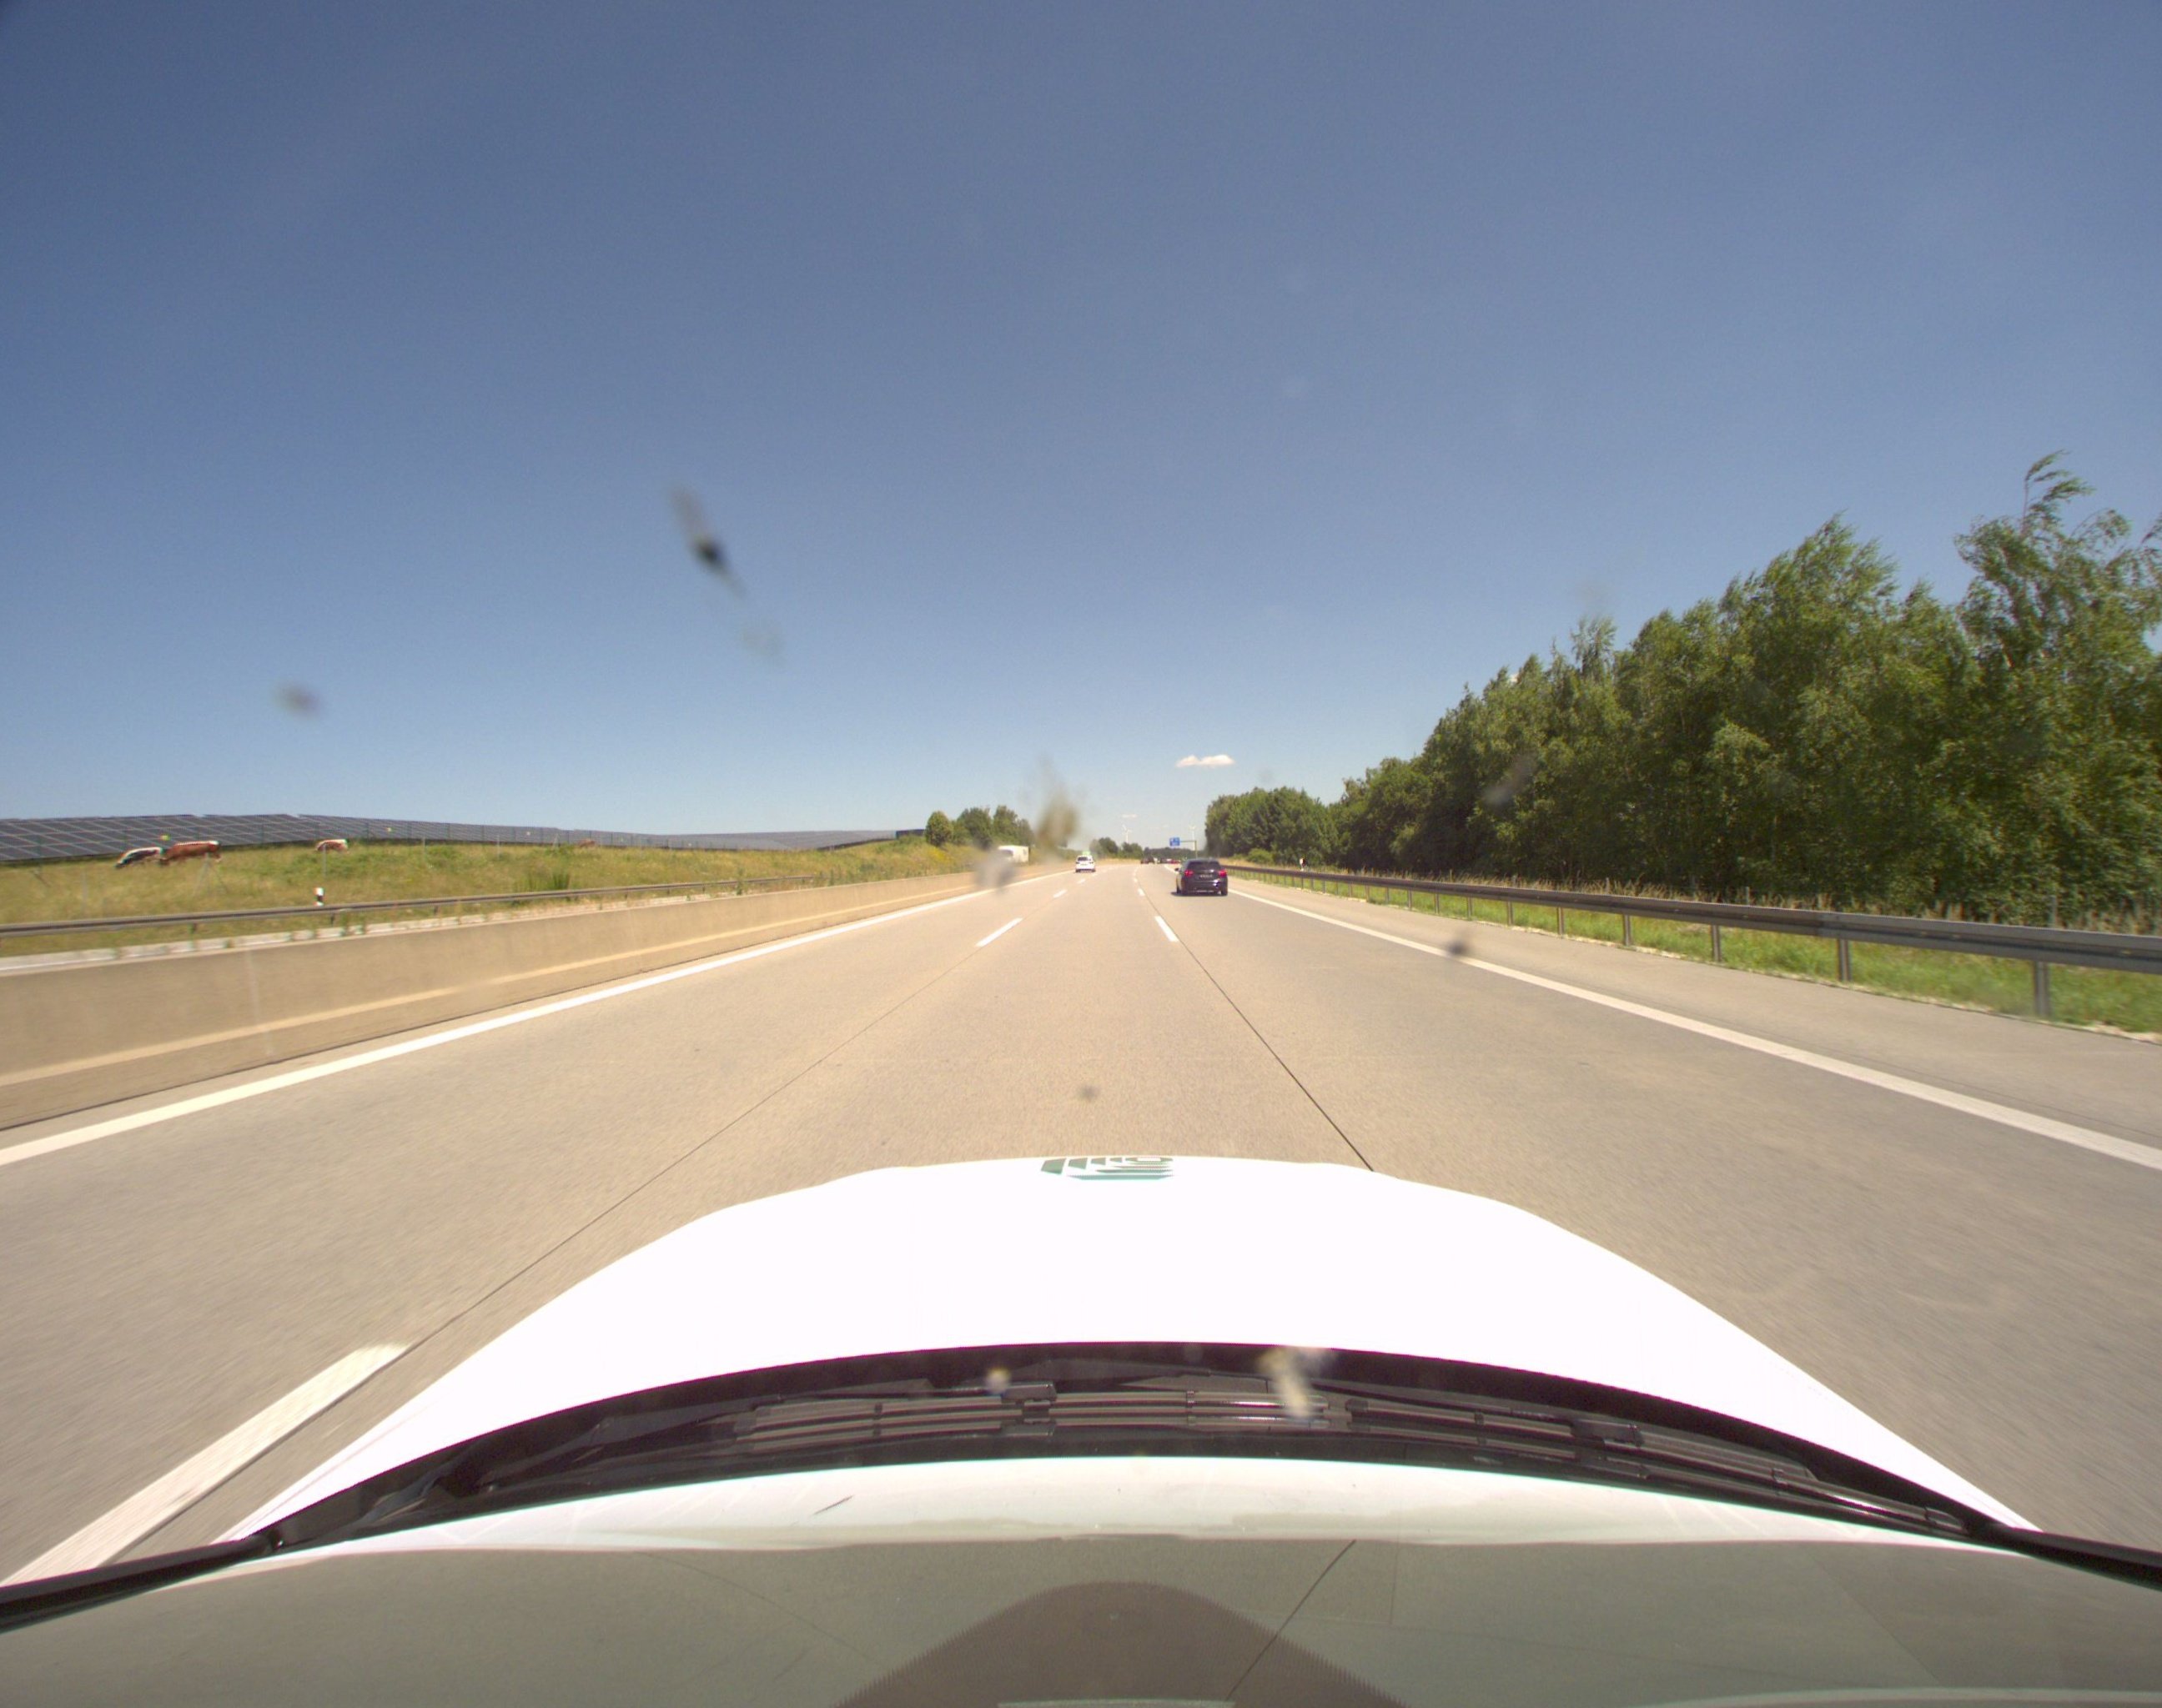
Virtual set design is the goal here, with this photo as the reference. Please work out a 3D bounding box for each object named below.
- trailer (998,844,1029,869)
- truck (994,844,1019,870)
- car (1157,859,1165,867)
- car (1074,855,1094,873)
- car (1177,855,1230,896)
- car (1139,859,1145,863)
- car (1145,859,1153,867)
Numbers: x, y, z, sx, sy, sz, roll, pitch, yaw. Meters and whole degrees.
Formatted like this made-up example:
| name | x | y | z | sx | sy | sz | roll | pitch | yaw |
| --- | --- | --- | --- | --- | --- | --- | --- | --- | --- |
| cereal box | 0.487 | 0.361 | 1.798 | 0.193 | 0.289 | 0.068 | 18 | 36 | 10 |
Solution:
| name | x | y | z | sx | sy | sz | roll | pitch | yaw |
| --- | --- | --- | --- | --- | --- | --- | --- | --- | --- |
| trailer | -11.713 | 0.493 | 142.914 | 2.992 | 4.060 | 14.194 | -2 | 0 | 4 |
| truck | -12.330 | 0.467 | 135.162 | 2.977 | 4.060 | 6.877 | -2 | 0 | 4 |
| car | 19.659 | 2.093 | 199.468 | 1.818 | 1.907 | 4.006 | -1 | 0 | 5 |
| car | 0.325 | 1.013 | 82.989 | 1.839 | 1.708 | 6.037 | -1 | -1 | 1 |
| car | 4.832 | 0.812 | 32.597 | 1.901 | 1.492 | 4.198 | -1 | 0 | 6 |
| car | 18.494 | 2.102 | 248.204 | 1.649 | 1.196 | 3.961 | 1 | 0 | 1 |
| car | 17.955 | 2.301 | 214.861 | 1.819 | 1.937 | 3.813 | -2 | -1 | 4 |
